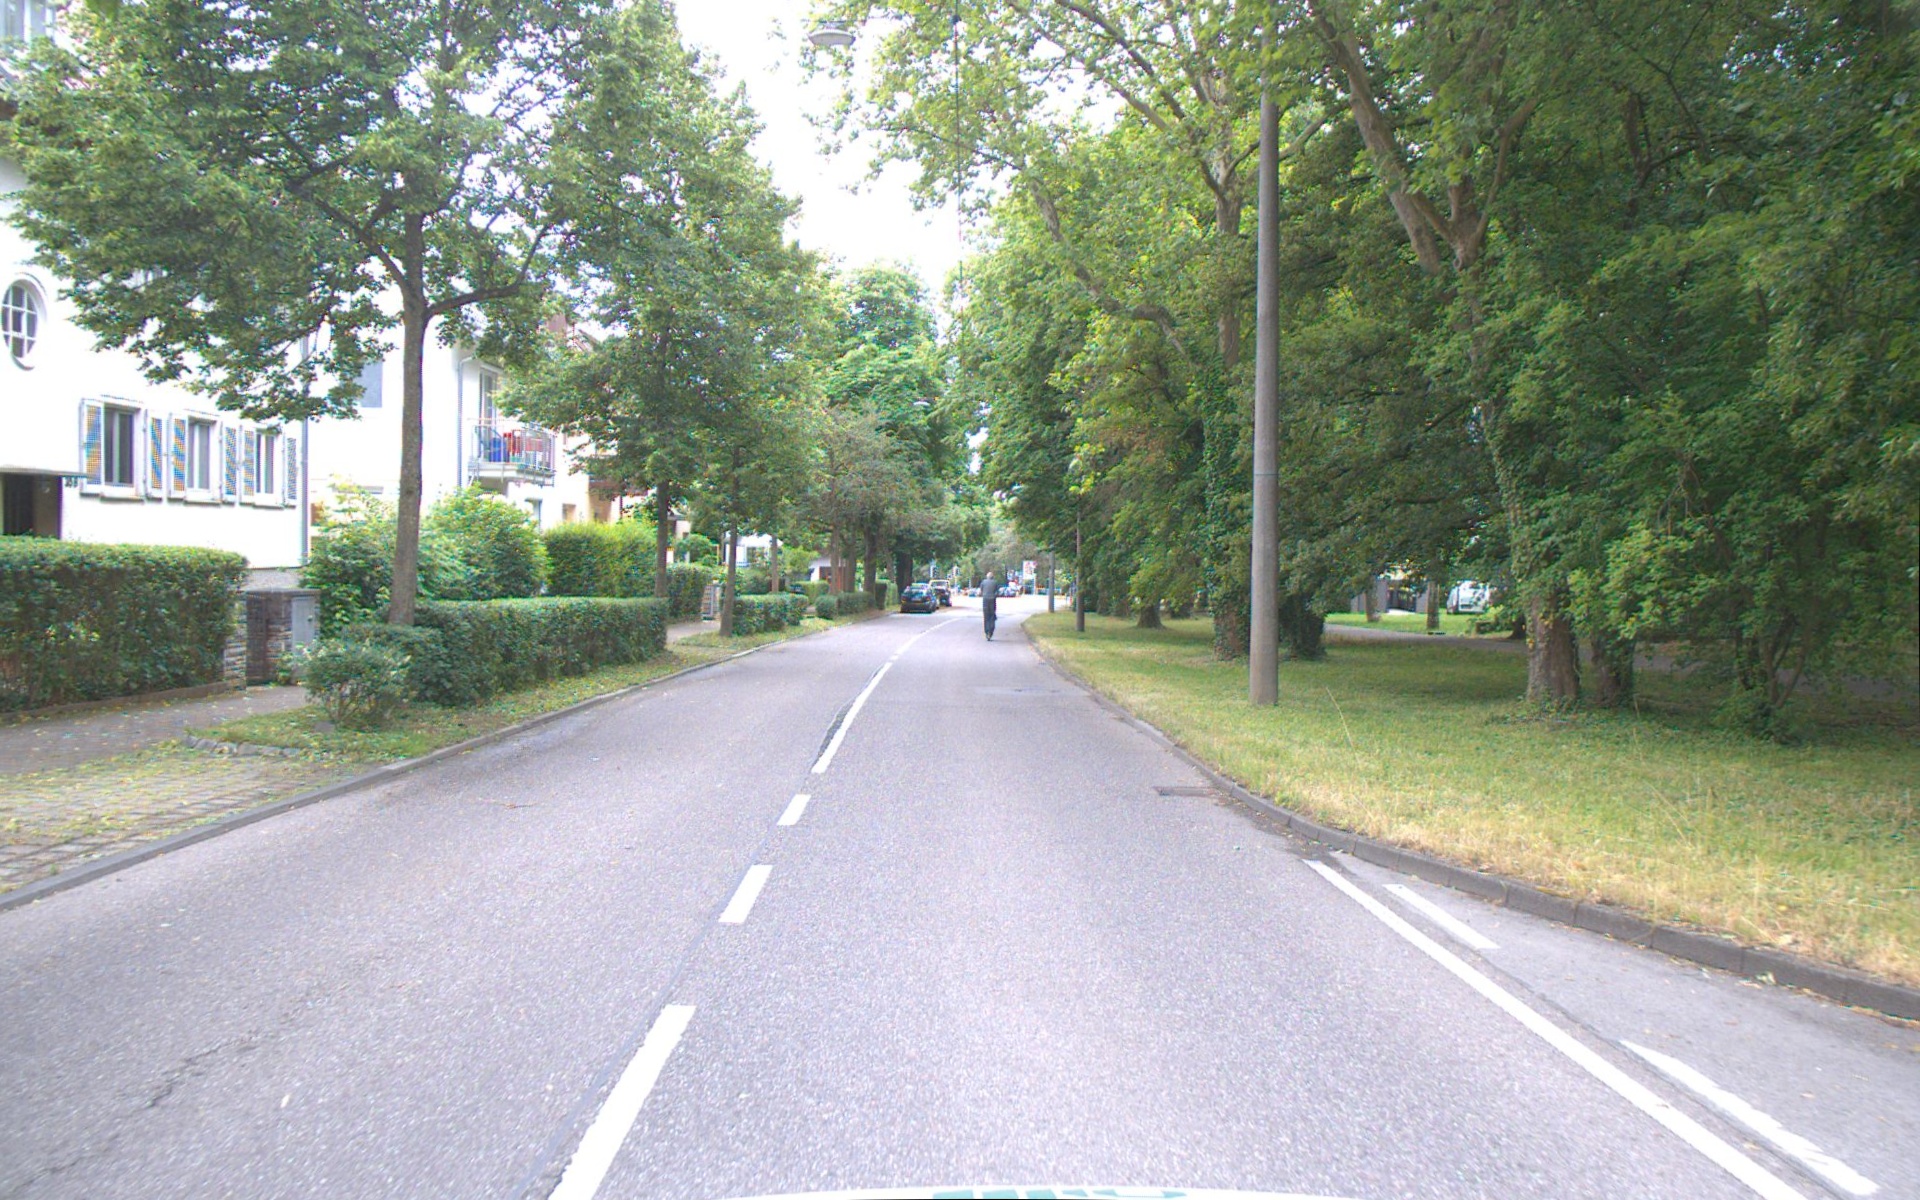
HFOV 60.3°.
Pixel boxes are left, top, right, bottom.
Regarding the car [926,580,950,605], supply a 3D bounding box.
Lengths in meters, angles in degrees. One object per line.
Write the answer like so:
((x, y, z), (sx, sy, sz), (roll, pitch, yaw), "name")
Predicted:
((-1.806, -0.592, 134.143), (1.820, 1.998, 4.501), (0, 0, -3), "car")

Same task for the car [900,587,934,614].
((-2.370, 0.021, 91.987), (1.757, 1.498, 4.418), (0, 0, 0), "car")

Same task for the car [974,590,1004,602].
((3.823, -0.526, 216.795), (3.905, 1.537, 1.800), (0, 0, -1), "car")

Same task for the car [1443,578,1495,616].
((27.121, -0.177, 88.229), (2.041, 1.875, 4.972), (0, 1, 10), "car")

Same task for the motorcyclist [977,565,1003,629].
((0.863, -0.079, 46.903), (0.659, 1.792, 0.639), (2, 0, 3), "motorcyclist")

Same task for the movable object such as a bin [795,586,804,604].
((-8.099, -0.252, 83.441), (0.447, 0.931, 0.508), (0, 0, -4), "movable object such as a bin")

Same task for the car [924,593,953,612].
((-1.574, 0.182, 123.295), (1.852, 1.435, 4.555), (0, 0, 3), "car")

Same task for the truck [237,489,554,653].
((-11.661, -0.594, 34.536), (5.678, 3.185, 2.517), (1, 0, -1), "truck")

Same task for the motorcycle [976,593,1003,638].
((0.834, 0.433, 46.705), (0.659, 1.238, 1.274), (2, 0, 3), "motorcycle")
